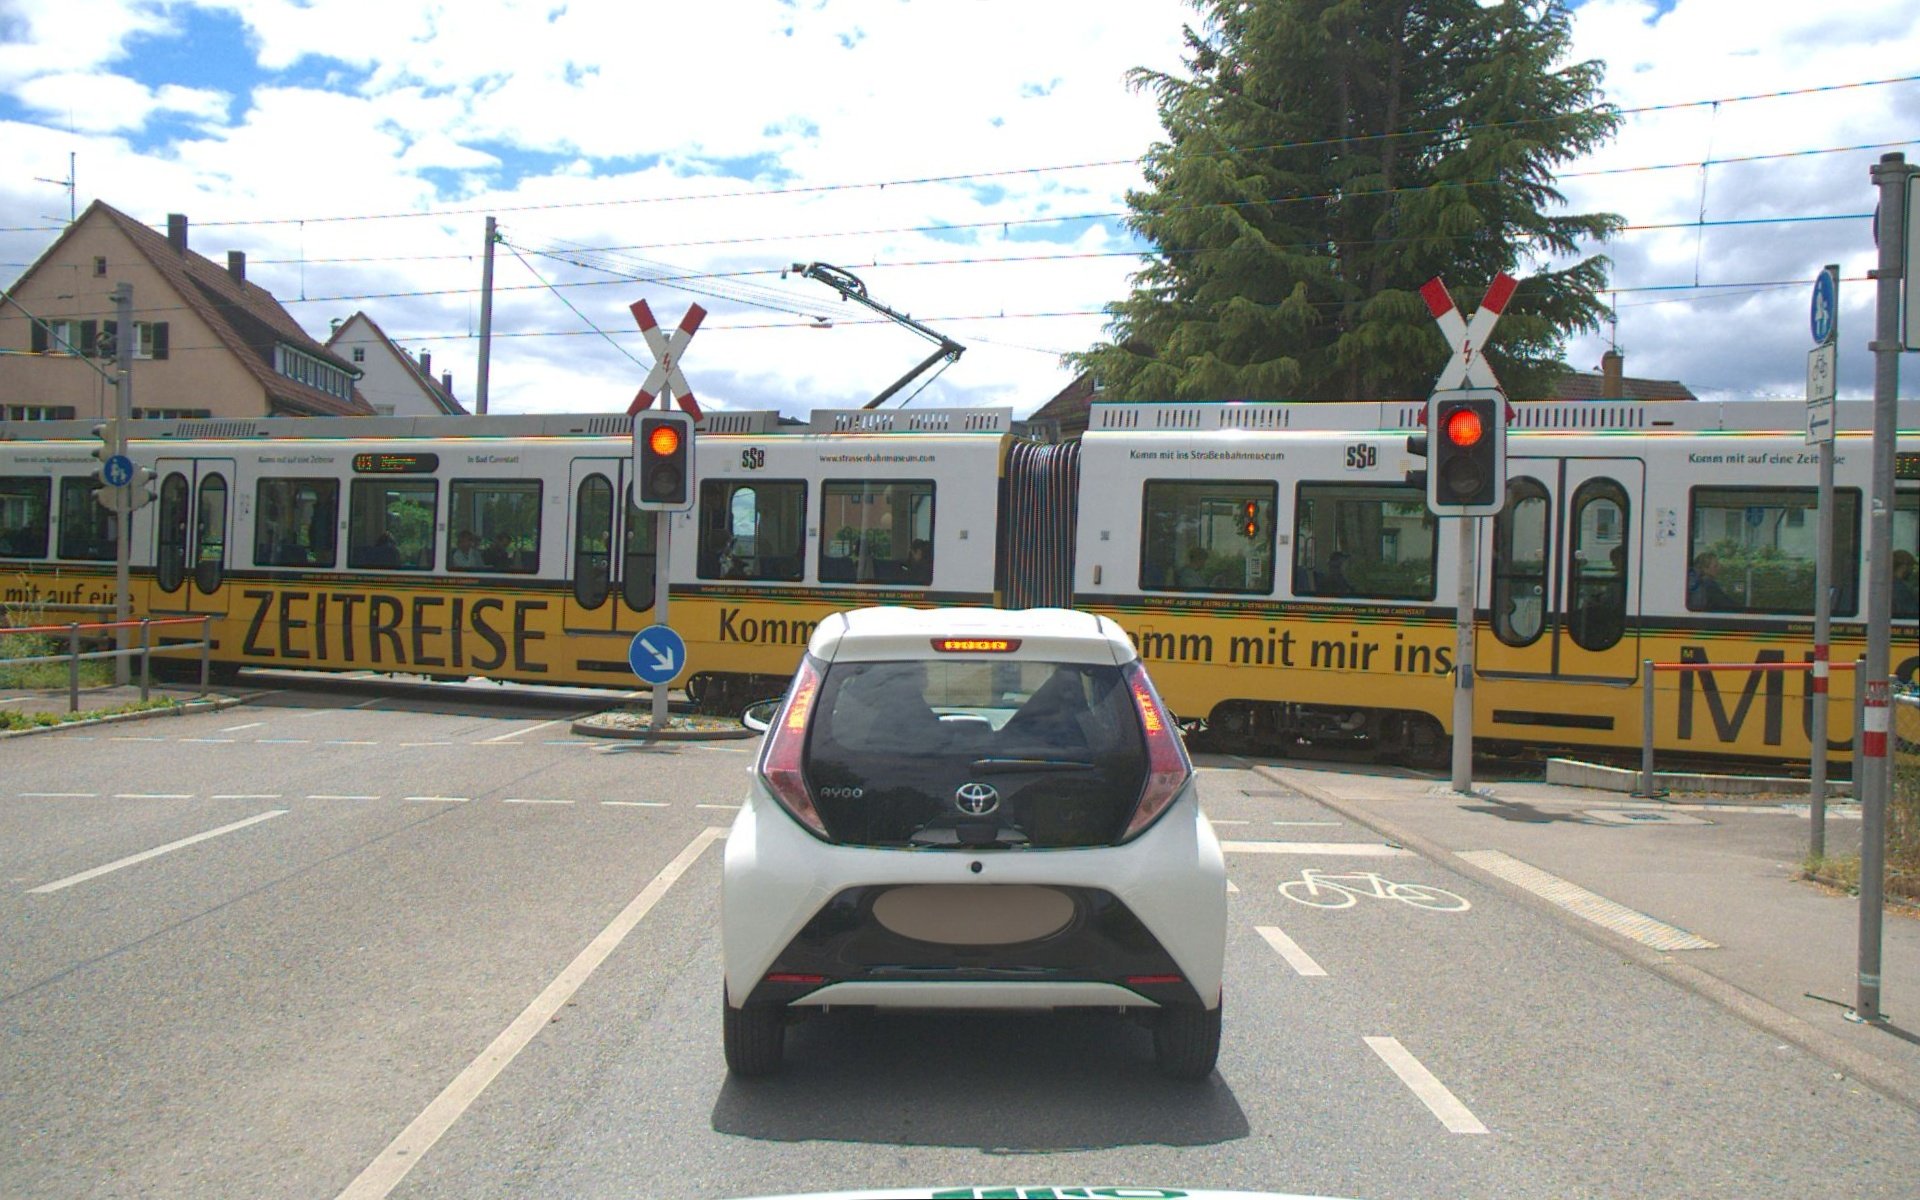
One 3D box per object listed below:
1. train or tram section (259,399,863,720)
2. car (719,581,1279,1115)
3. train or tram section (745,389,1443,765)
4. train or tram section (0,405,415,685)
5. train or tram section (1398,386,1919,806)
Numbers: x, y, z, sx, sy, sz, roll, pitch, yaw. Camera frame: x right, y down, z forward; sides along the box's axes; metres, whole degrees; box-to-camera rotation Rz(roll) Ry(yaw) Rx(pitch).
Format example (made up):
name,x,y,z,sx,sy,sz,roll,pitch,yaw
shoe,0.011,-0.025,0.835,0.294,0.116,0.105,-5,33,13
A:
name,x,y,z,sx,sy,sz,roll,pitch,yaw
train or tram section,-5.383,-0.597,22.232,7.535,3.786,2.869,2,0,22
car,0.087,0.720,6.730,1.588,1.512,3.999,1,0,-1
train or tram section,1.553,-0.353,19.382,7.535,3.786,2.869,2,0,22
train or tram section,-12.313,-0.865,25.090,7.535,3.786,2.869,2,0,22
train or tram section,8.481,-0.053,16.535,7.535,3.786,2.869,2,0,22
